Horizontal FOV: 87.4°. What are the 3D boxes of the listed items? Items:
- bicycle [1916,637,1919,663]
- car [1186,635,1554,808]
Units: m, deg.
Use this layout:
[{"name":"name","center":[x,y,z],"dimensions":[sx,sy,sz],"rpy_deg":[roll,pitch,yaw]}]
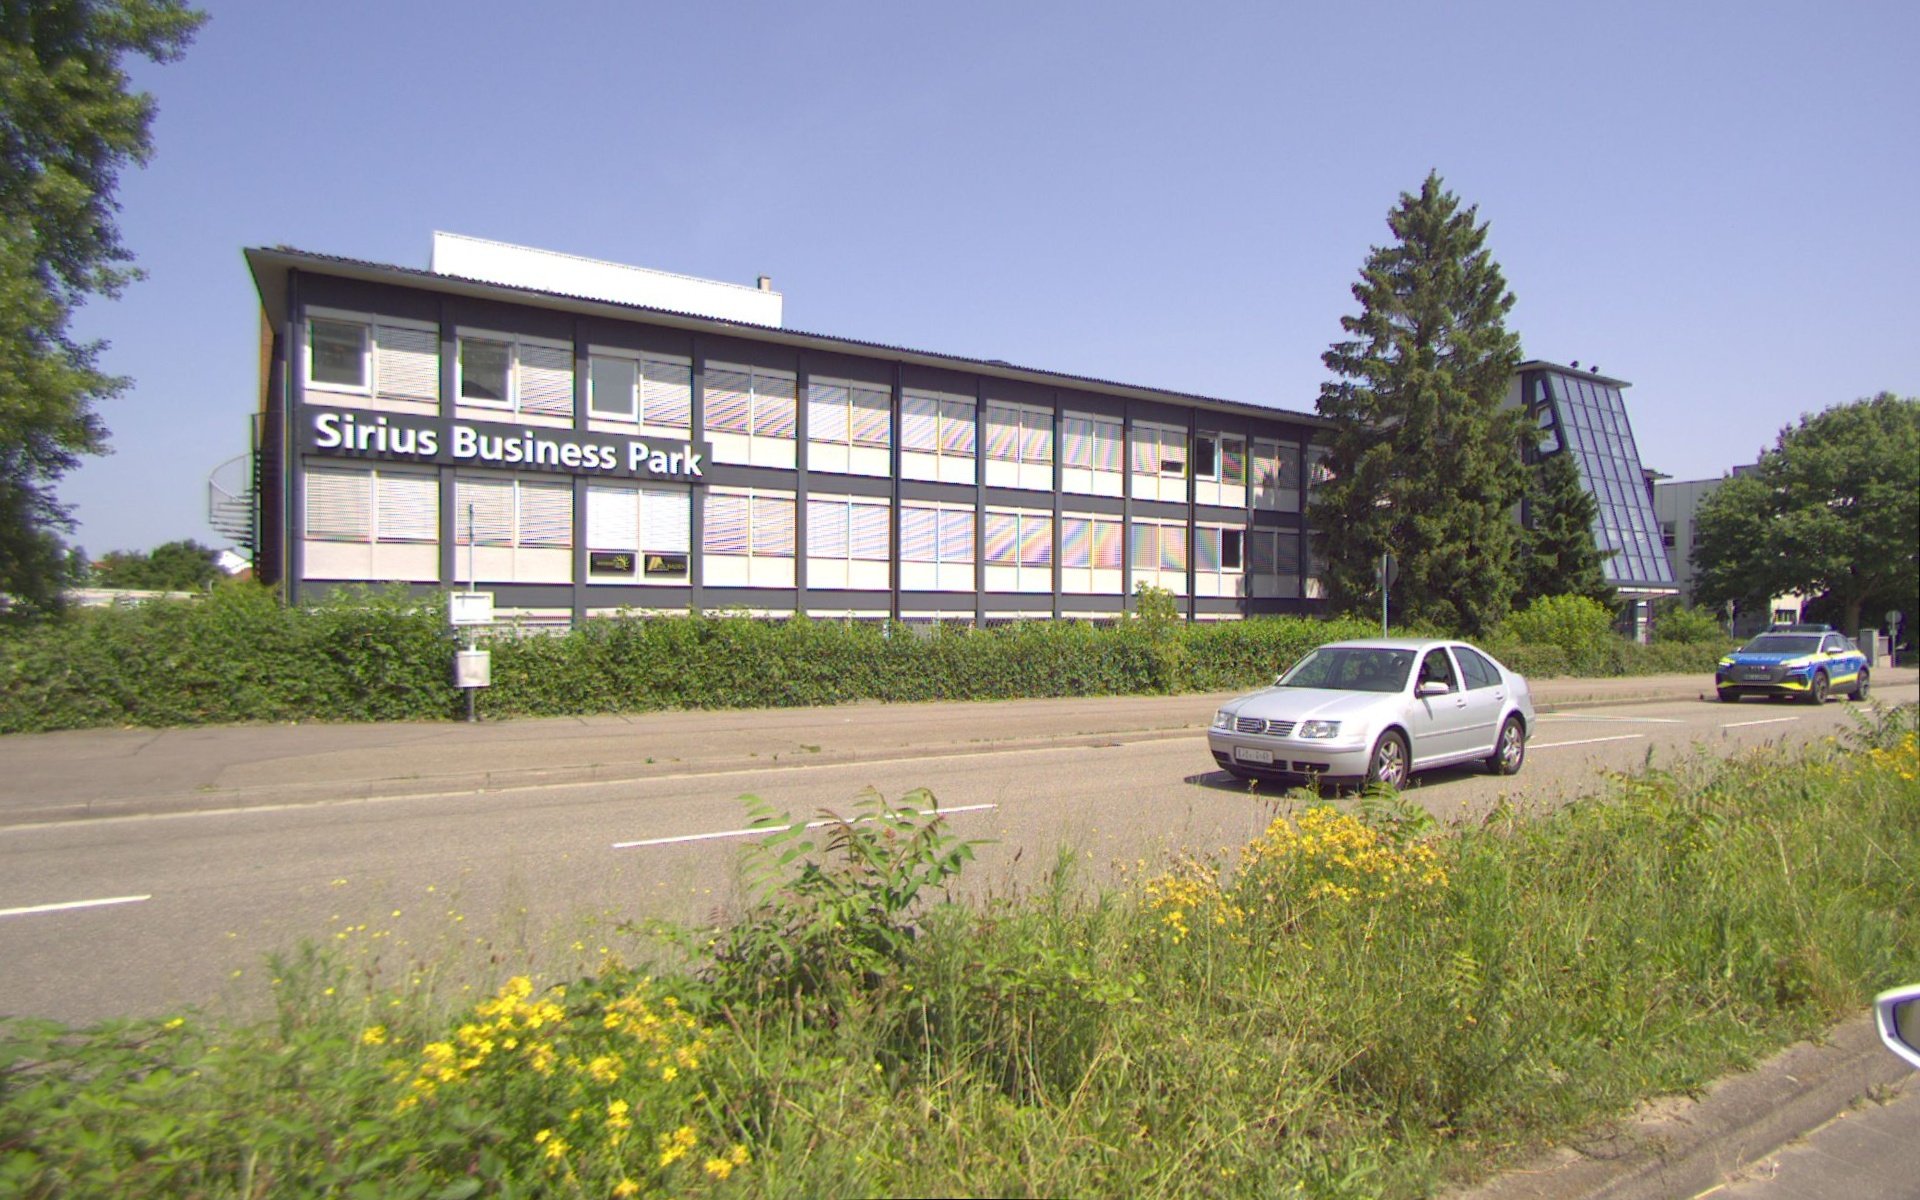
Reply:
[{"name":"bicycle","center":[55.851,2.860,57.257],"dimensions":[2.434,1.522,0.908],"rpy_deg":[1,-1,-17]},{"name":"car","center":[4.434,1.100,10.554],"dimensions":[4.334,1.431,1.722],"rpy_deg":[1,-2,-39]}]
